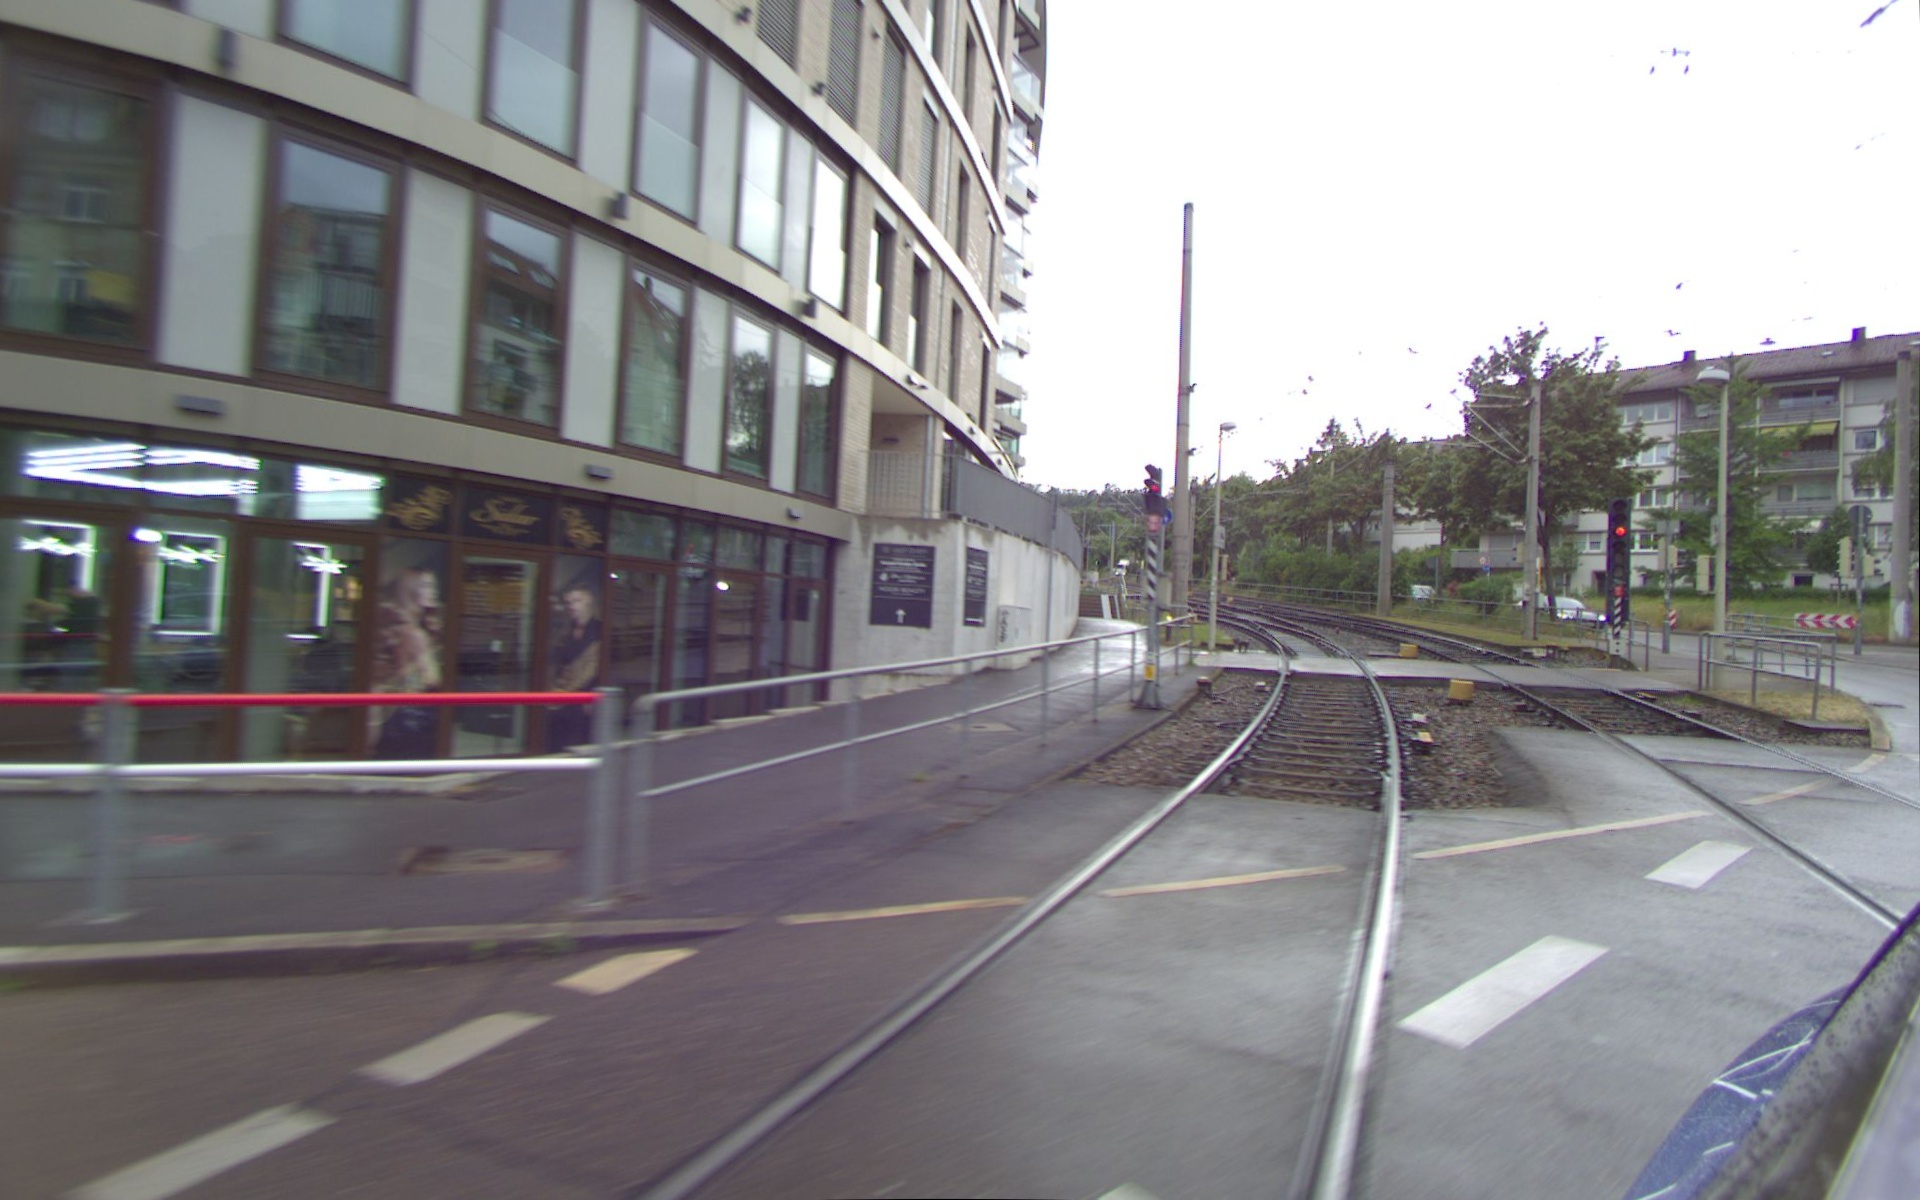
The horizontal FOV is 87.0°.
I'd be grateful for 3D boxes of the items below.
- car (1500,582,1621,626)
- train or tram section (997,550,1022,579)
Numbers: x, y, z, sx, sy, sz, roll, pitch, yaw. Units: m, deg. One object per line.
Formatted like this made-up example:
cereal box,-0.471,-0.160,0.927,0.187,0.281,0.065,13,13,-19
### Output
car,23.577,0.124,39.951,1.776,1.636,4.311,0,1,-8
train or tram section,6.474,-4.604,133.709,3.059,3.541,14.851,2,2,2
